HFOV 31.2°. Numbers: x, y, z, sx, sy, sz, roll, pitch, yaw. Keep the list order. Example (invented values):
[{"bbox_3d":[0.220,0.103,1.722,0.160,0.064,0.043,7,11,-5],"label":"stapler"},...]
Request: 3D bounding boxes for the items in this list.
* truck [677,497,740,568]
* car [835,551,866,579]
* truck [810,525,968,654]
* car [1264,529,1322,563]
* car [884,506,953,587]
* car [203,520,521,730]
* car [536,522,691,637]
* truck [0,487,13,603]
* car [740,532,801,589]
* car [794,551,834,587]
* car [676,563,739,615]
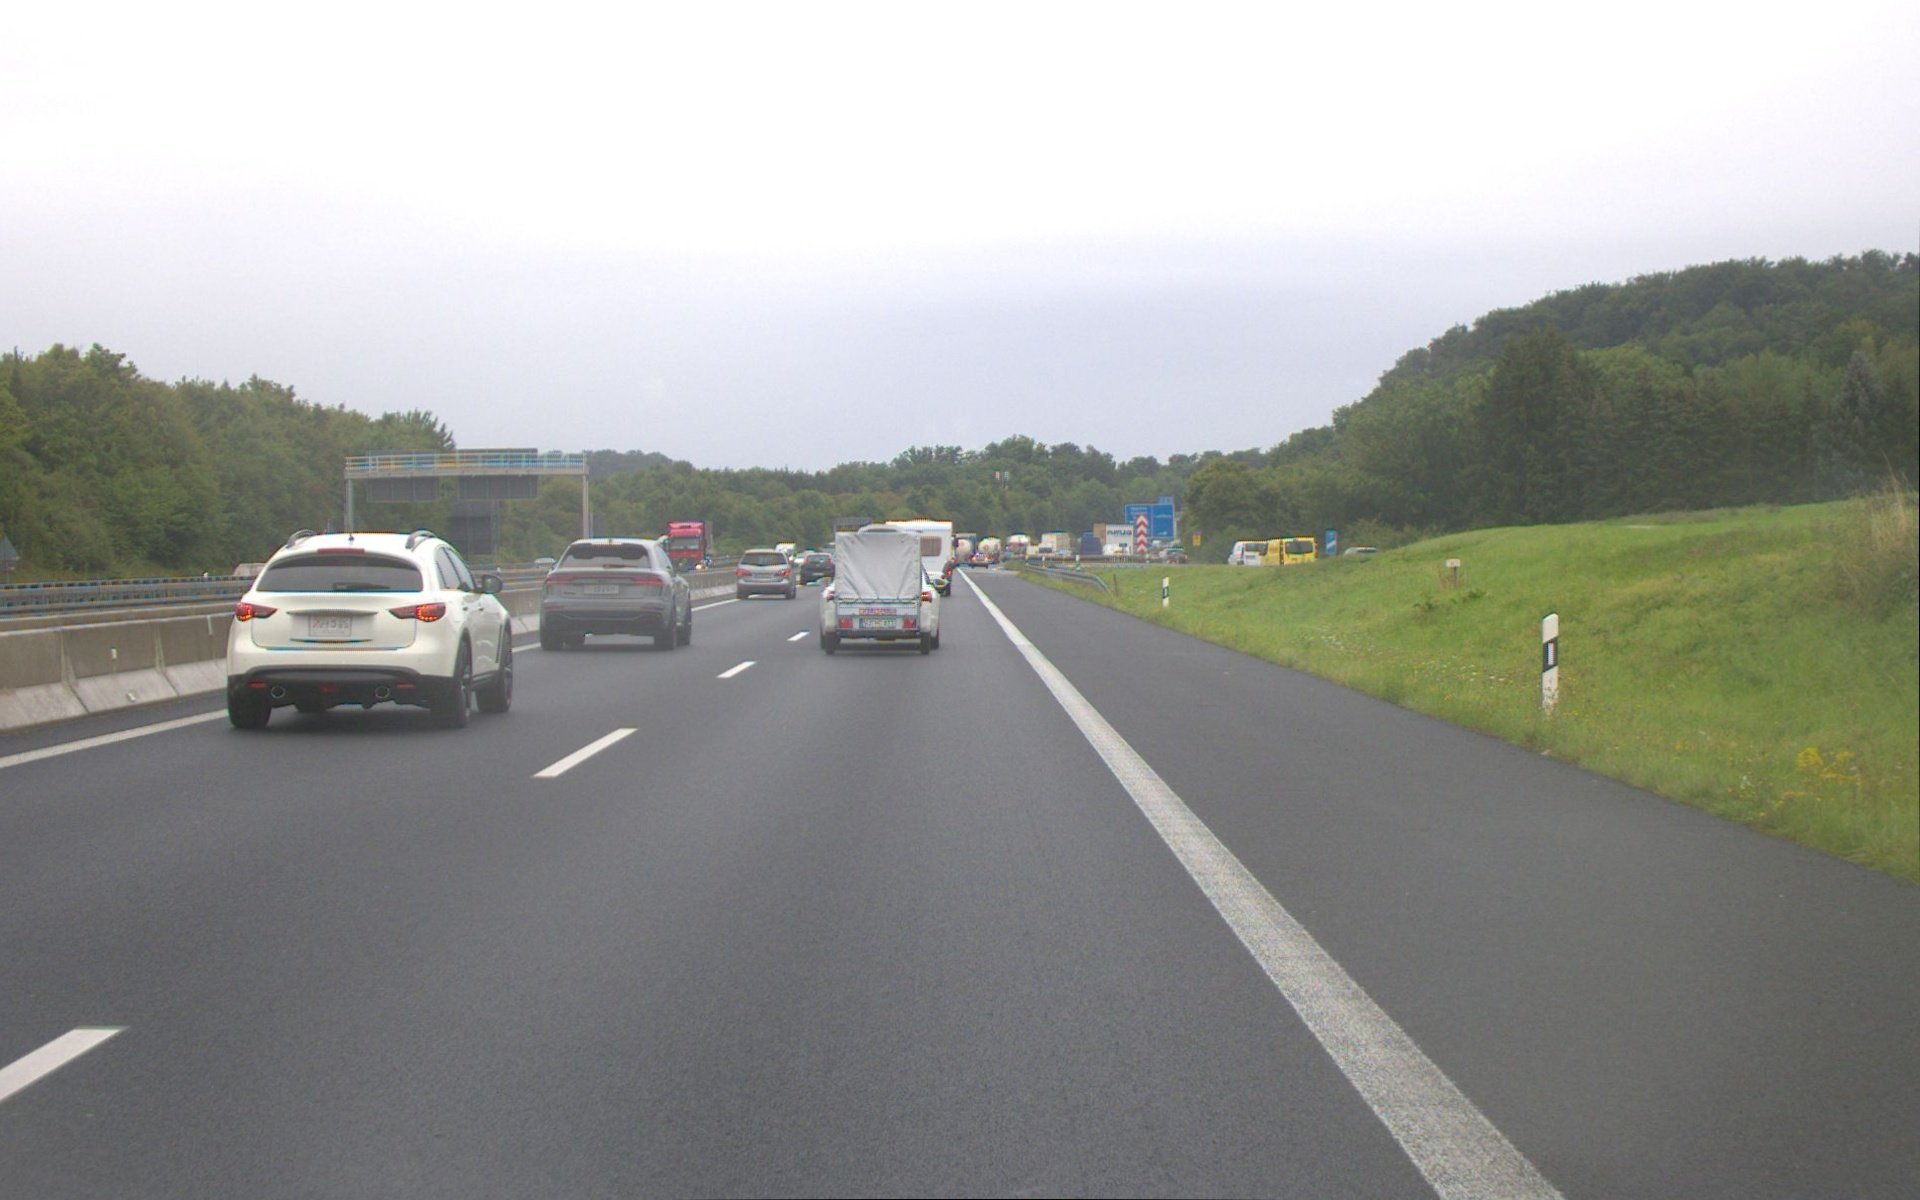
[{"bbox_3d":[-17.248,-4.616,236.529,3.400,4.717,10.485,0,1,1],"label":"truck"},{"bbox_3d":[-6.279,-2.024,197.829,1.645,1.568,4.000,1,1,0],"label":"car"},{"bbox_3d":[-1.087,-0.206,52.603,2.242,1.833,6.585,0,1,-1],"label":"truck"},{"bbox_3d":[15.759,-2.568,162.955,1.993,1.547,4.001,1,1,-5],"label":"car"},{"bbox_3d":[-1.417,-1.845,119.504,2.331,2.716,6.540,1,1,0],"label":"car"},{"bbox_3d":[-5.083,0.167,29.819,2.048,1.665,4.541,0,1,-1],"label":"car"},{"bbox_3d":[-5.337,-0.341,53.552,1.975,1.697,4.802,1,1,-1],"label":"car"},{"bbox_3d":[-32.972,-1.651,105.140,3.178,3.795,17.135,-1,1,0],"label":"truck"},{"bbox_3d":[-6.037,-1.277,109.697,1.738,1.787,4.000,0,1,-1],"label":"car"},{"bbox_3d":[-6.683,-1.419,157.295,1.645,1.568,4.000,1,1,0],"label":"car"},{"bbox_3d":[-8.420,-0.384,114.909,1.819,1.656,4.017,0,1,0],"label":"car"}]
